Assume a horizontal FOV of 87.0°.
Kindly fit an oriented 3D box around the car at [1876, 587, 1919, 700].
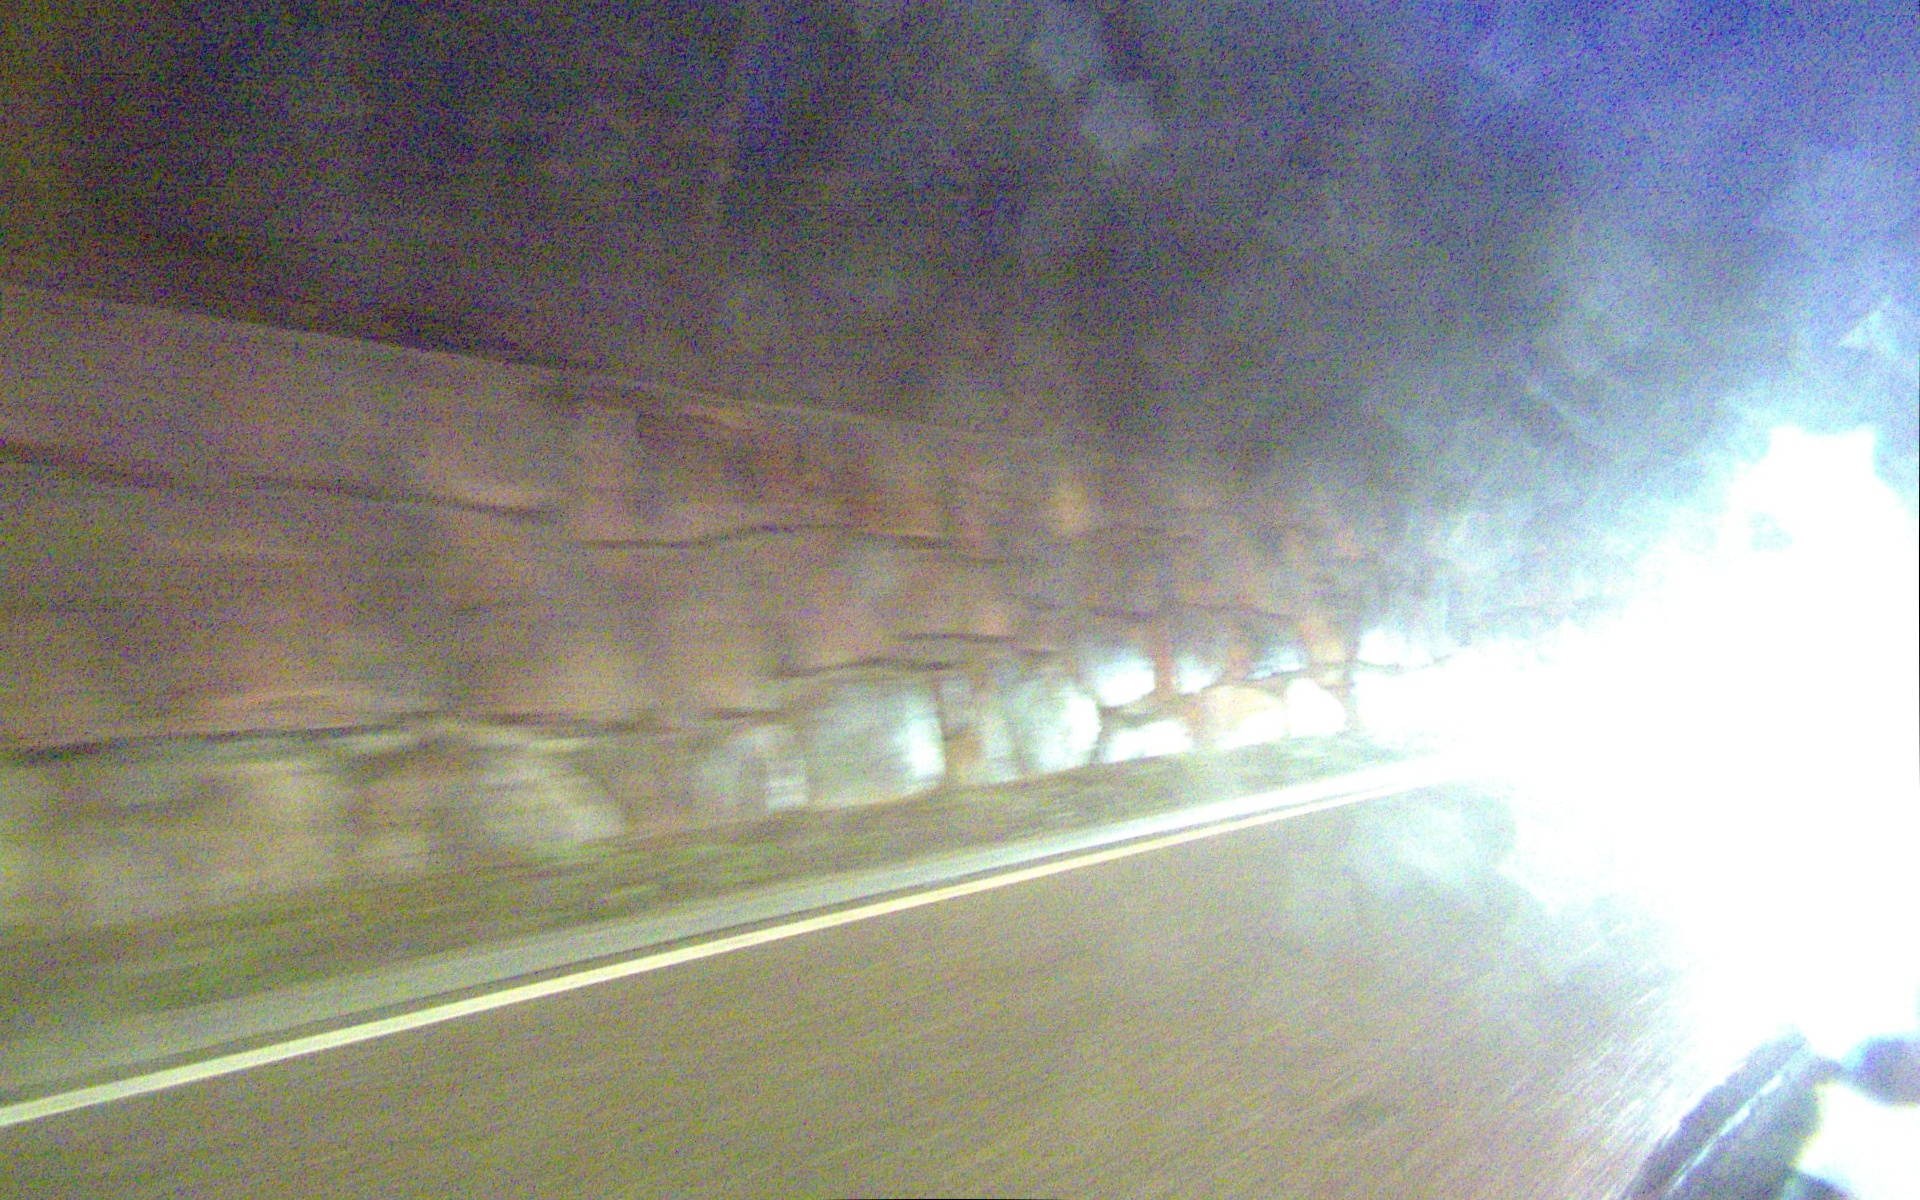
[{"bbox_3d":[16.446,0.664,16.454,4.144,1.715,1.789,0,0,-40],"label":"car"}]
